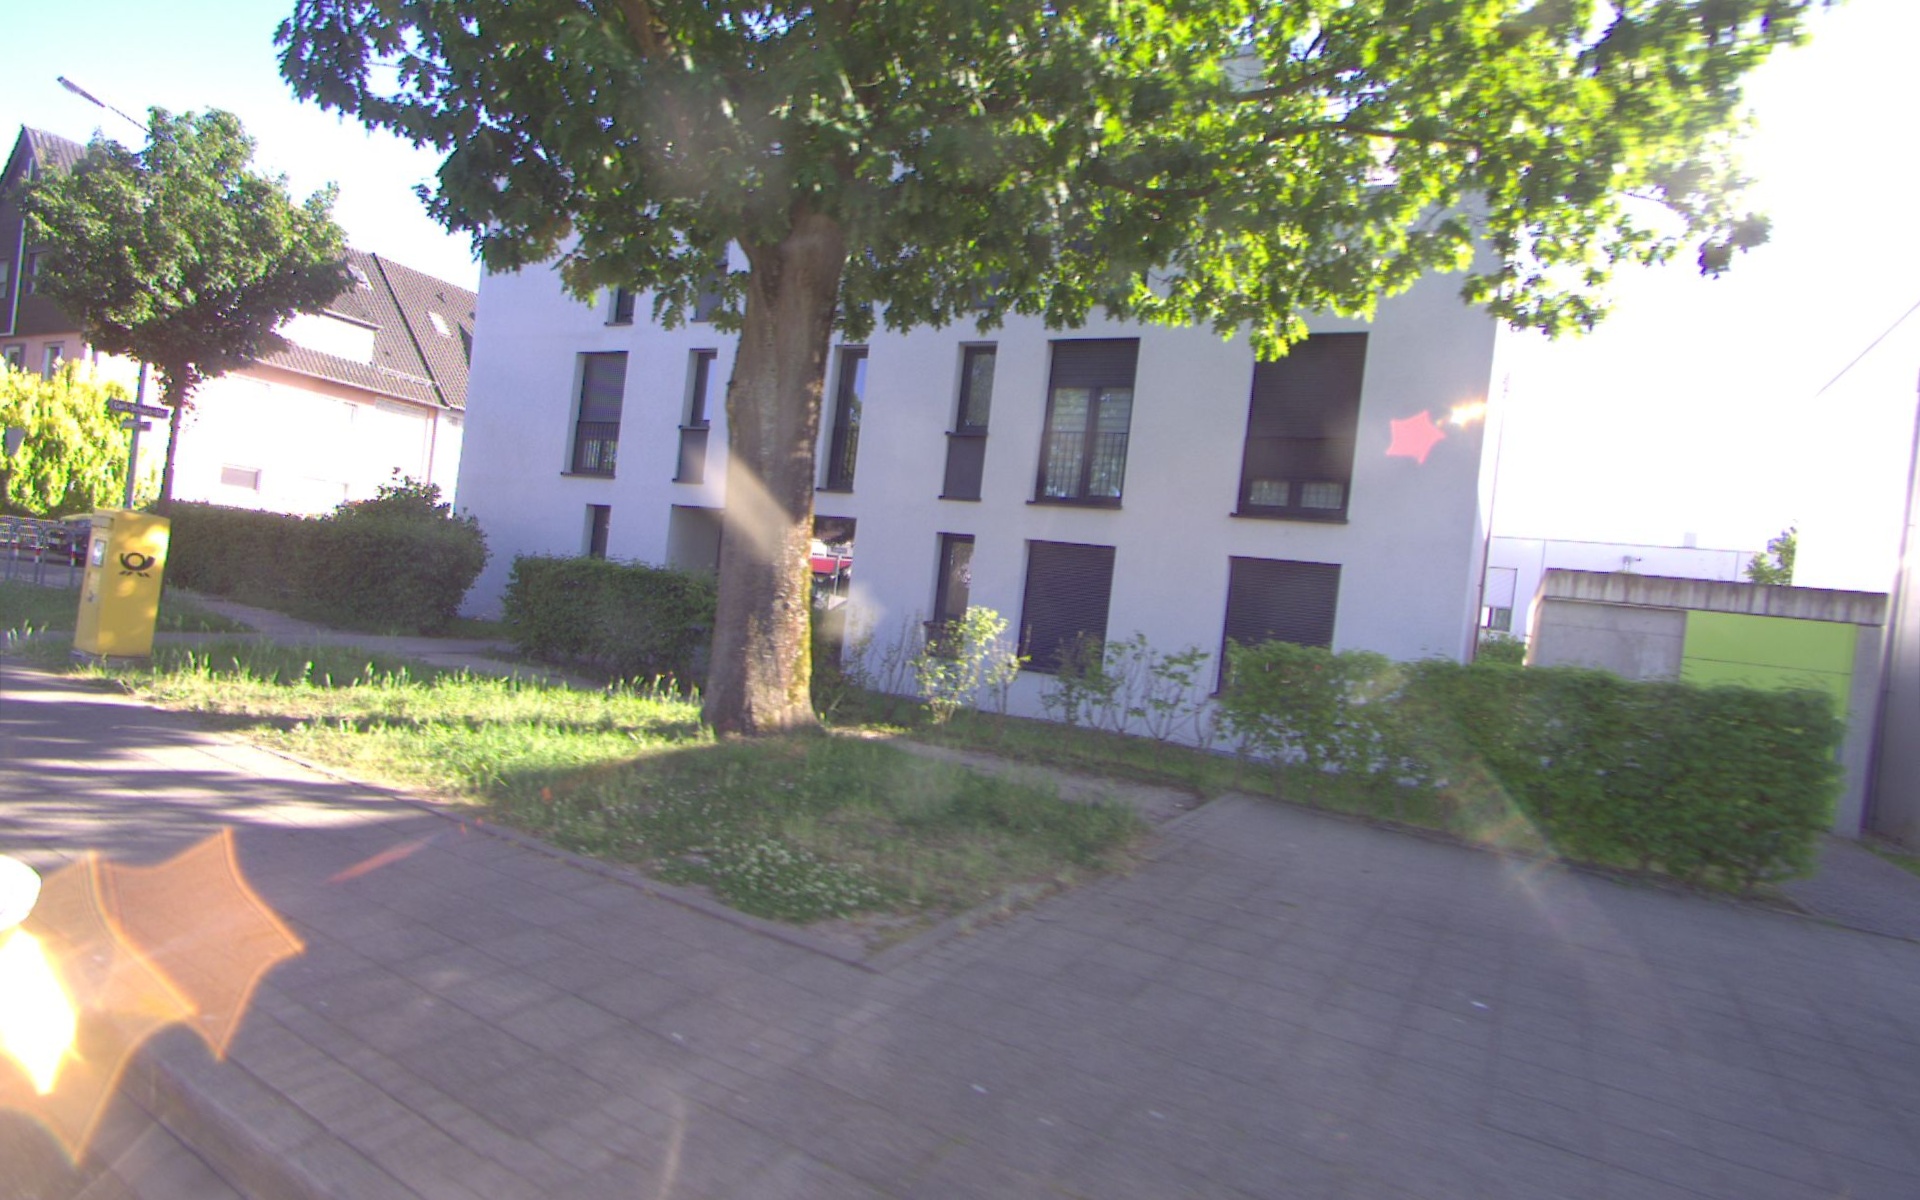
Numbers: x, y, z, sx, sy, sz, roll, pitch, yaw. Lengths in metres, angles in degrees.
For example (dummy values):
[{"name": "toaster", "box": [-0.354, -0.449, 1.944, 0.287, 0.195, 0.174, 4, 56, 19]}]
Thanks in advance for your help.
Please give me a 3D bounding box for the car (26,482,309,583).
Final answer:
[{"name": "car", "box": [-20.044, -1.631, 25.776, 2.036, 1.870, 5.251, 5, -1, 28]}]
